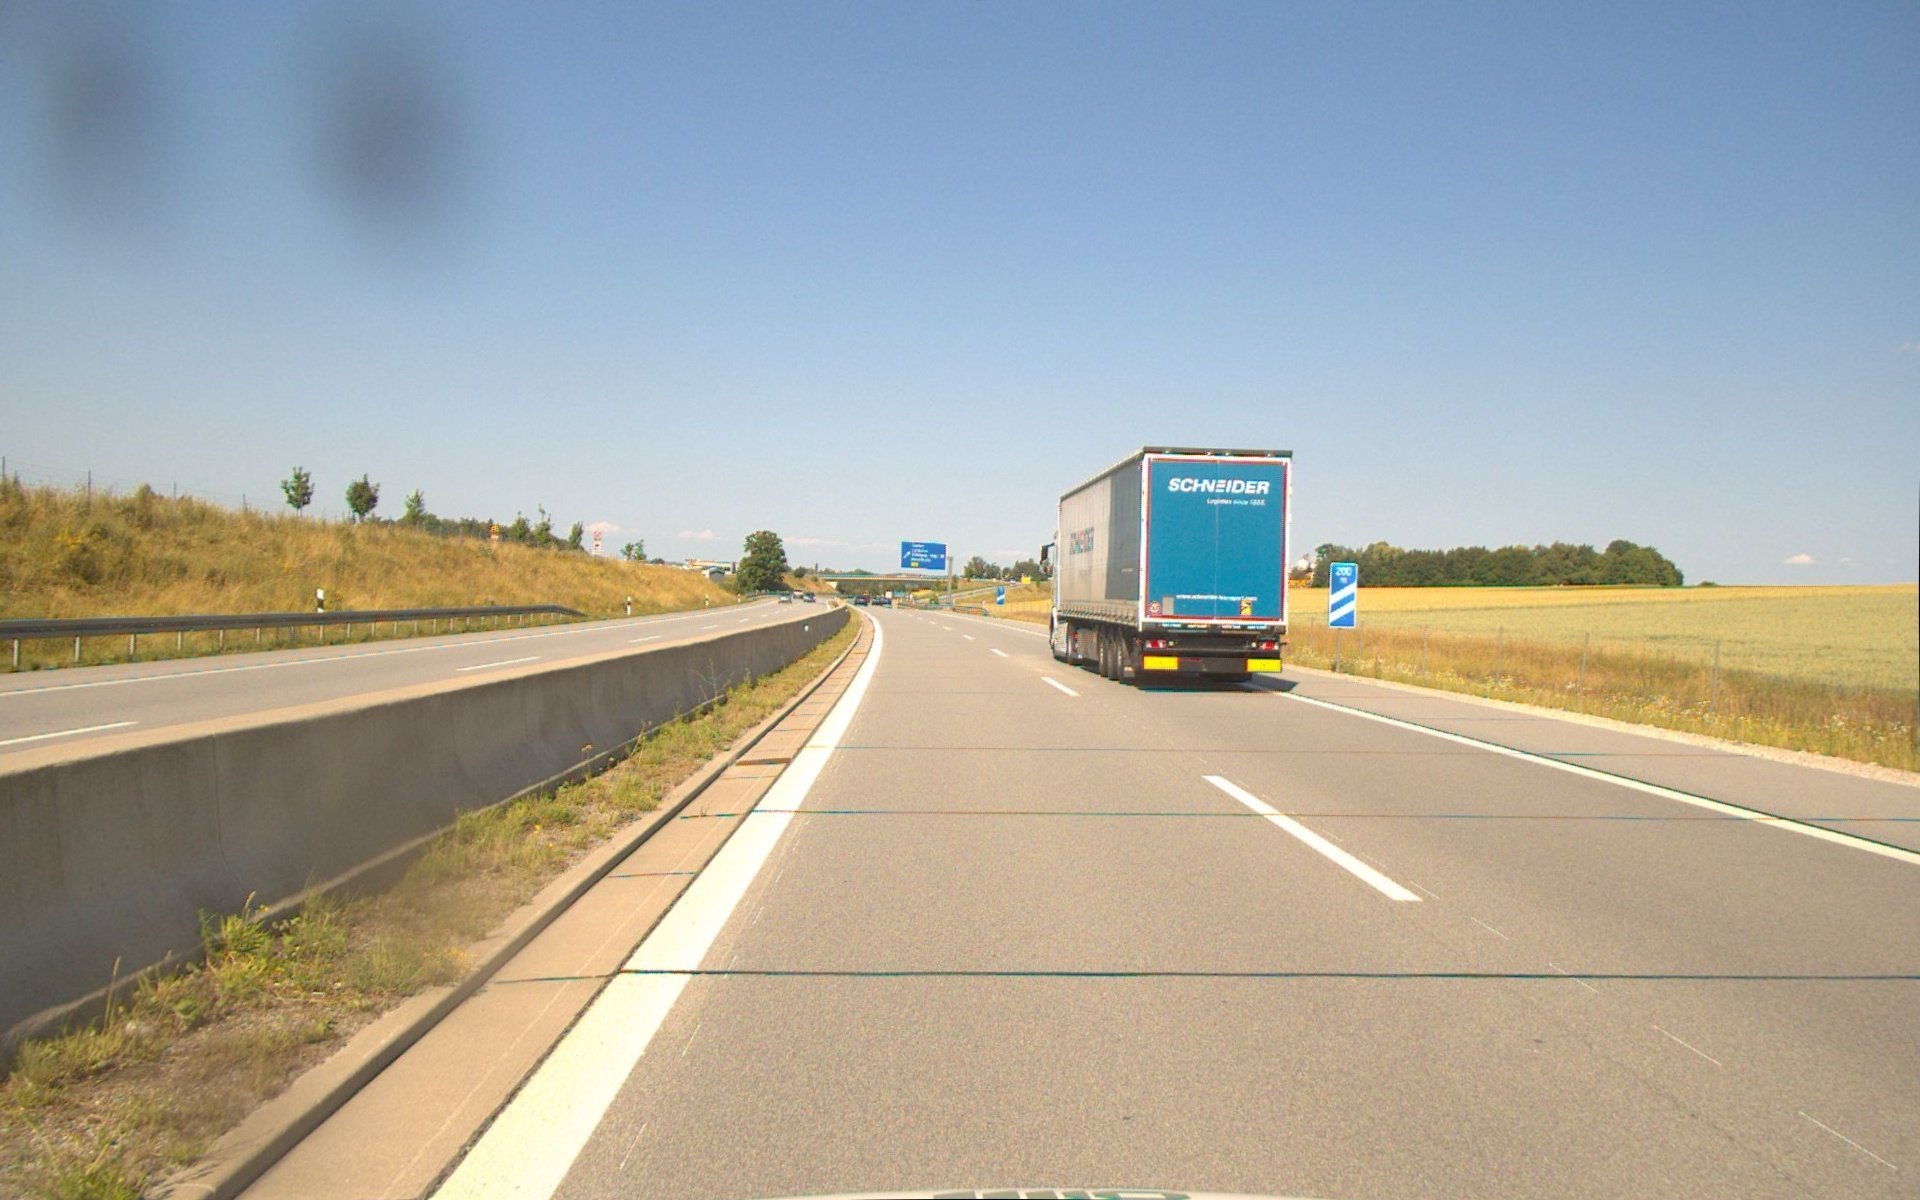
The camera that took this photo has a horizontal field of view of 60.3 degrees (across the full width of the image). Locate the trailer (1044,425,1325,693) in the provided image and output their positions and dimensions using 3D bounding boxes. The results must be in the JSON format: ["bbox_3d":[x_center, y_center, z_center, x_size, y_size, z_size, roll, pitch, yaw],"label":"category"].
[{"bbox_3d":[4.080,-0.697,34.786,3.113,4.369,15.451,0,0,-3],"label":"trailer"}]

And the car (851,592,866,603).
[{"bbox_3d":[-14.329,-0.344,233.812,1.954,1.579,3.998,0,0,-3],"label":"car"}]

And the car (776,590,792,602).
[{"bbox_3d":[-22.312,-0.502,209.605,1.842,1.528,4.561,0,0,-5],"label":"car"}]

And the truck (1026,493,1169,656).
[{"bbox_3d":[3.573,-0.663,44.481,3.021,4.084,6.185,0,0,-3],"label":"truck"}]

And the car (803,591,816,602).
[{"bbox_3d":[-22.884,-0.495,251.185,1.844,1.603,4.558,0,0,-8],"label":"car"}]
